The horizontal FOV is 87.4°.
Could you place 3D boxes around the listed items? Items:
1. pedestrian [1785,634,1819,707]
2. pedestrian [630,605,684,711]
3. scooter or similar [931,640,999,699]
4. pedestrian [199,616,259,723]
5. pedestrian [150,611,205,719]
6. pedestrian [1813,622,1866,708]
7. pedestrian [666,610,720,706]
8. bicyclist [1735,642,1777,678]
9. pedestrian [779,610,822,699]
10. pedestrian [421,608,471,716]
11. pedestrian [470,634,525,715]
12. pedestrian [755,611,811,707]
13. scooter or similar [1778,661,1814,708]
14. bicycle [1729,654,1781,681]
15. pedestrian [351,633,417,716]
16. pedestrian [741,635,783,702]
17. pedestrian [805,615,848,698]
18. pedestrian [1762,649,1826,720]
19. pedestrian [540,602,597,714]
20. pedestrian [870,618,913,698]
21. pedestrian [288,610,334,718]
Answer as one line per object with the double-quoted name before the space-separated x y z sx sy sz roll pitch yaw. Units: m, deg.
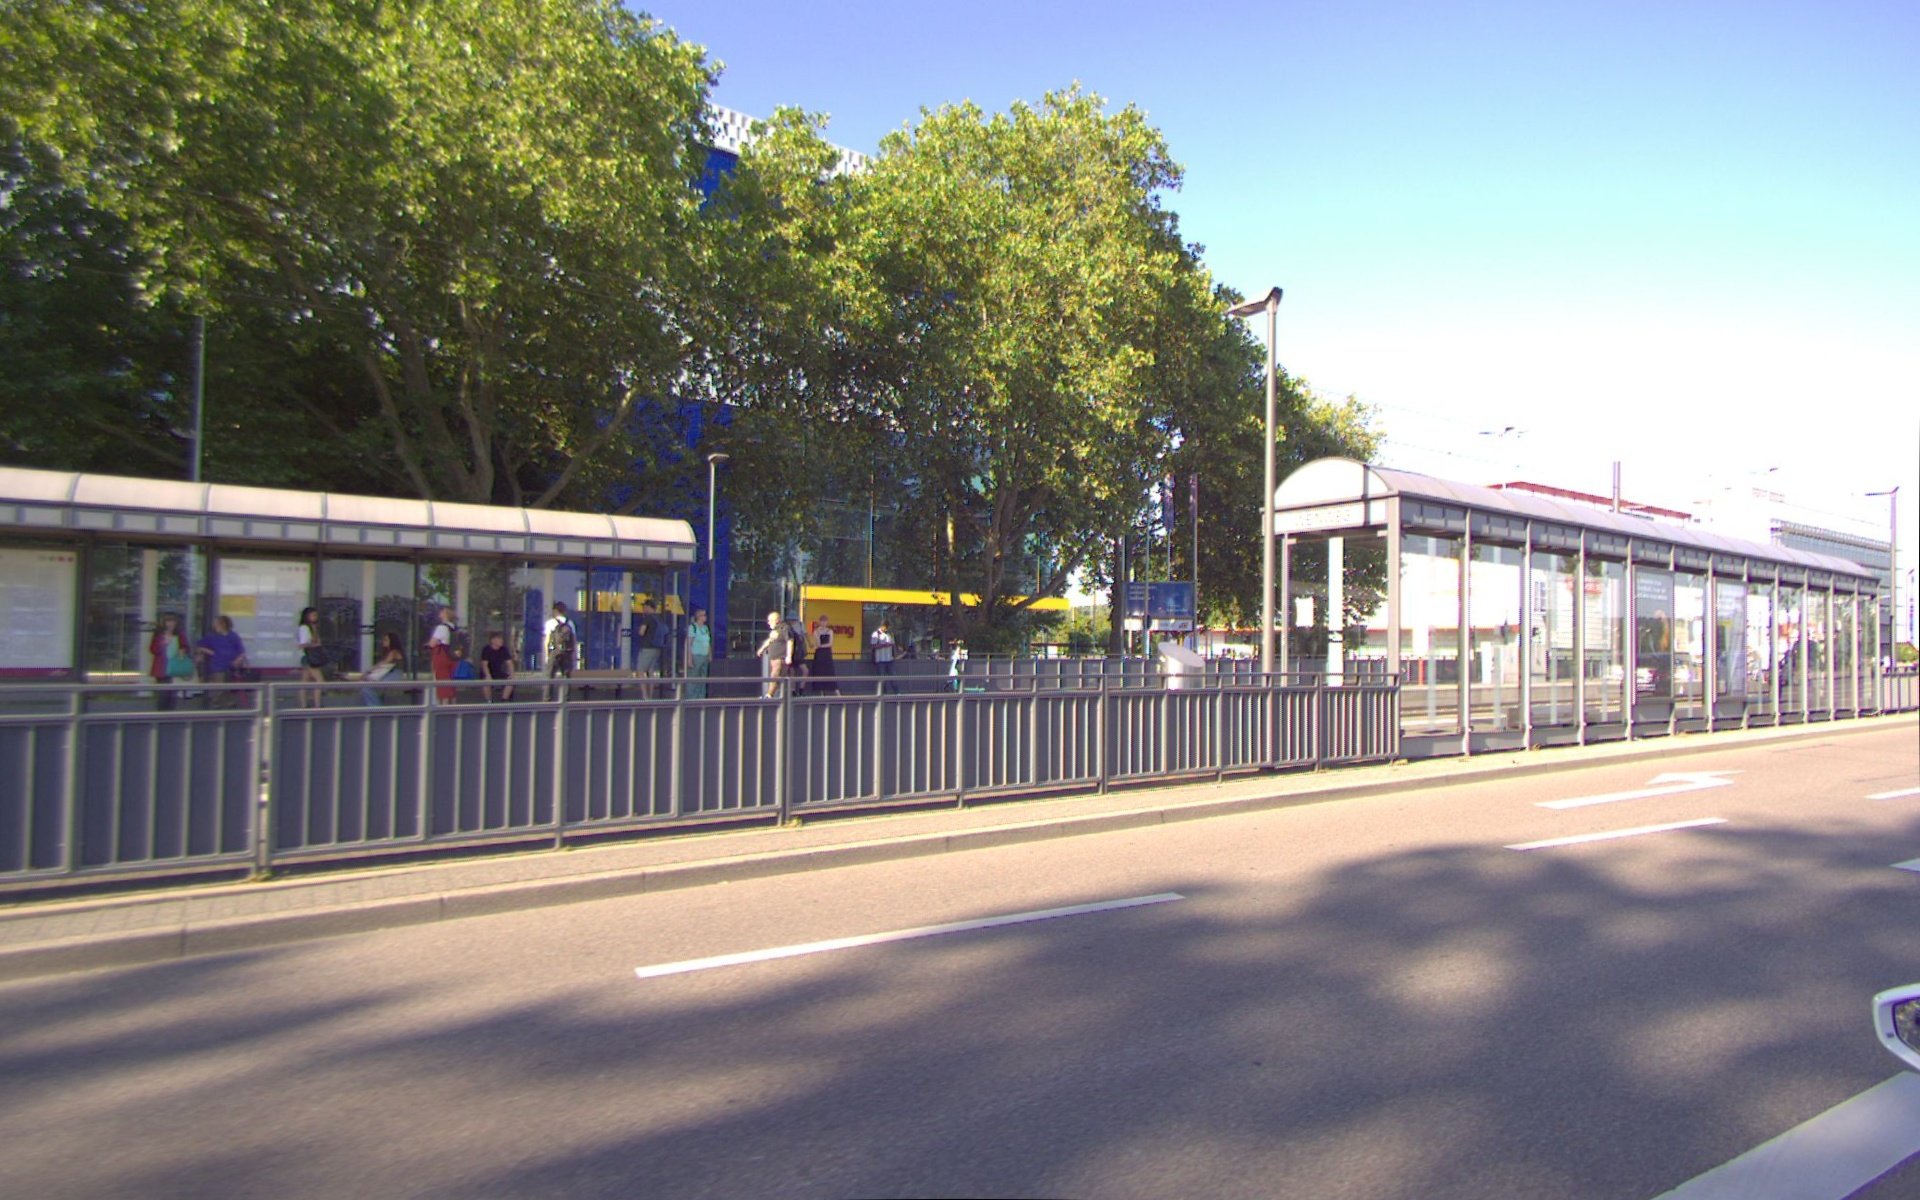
"pedestrian" 19.315 1.607 23.044 0.550 1.617 0.637 1 -1 44
"pedestrian" -5.470 1.024 18.117 0.681 1.844 0.725 2 0 -39
"scooter or similar" 0.114 1.509 22.128 1.358 1.251 0.660 2 -2 -35
"pedestrian" -10.647 0.993 14.630 0.662 1.511 0.574 -1 -2 44
"pedestrian" -11.060 0.904 14.197 0.540 1.487 0.608 2 -2 -41
"pedestrian" 18.319 1.333 20.922 0.815 1.738 0.688 2 -1 -38
"pedestrian" -4.936 1.052 18.562 0.681 1.714 0.725 2 0 -39
"bicyclist" 37.577 2.823 47.401 1.461 1.638 0.820 2 -4 -14
"pedestrian" -3.199 1.082 20.155 0.628 1.742 0.648 2 -1 -30
"pedestrian" -8.135 0.974 15.912 0.635 1.657 0.573 1 -2 -25
"pedestrian" -7.634 1.215 16.572 0.679 1.269 0.648 2 0 -36
"pedestrian" -3.161 1.042 17.914 0.768 1.654 0.656 2 -1 -32
"scooter or similar" 18.676 1.878 22.440 0.563 1.000 0.811 1 -1 44
"bicycle" 37.482 3.188 47.358 2.241 1.233 0.713 2 -4 -14
"pedestrian" -9.145 1.163 15.951 0.566 1.274 0.671 0 -2 22
"pedestrian" -3.811 1.299 19.297 0.610 1.240 0.599 2 -1 -30
"pedestrian" -2.701 1.135 20.355 0.628 1.641 0.648 2 -1 -30
"pedestrian" 15.444 1.543 18.595 0.869 1.248 0.676 2 0 -34
"pedestrian" -6.384 0.936 16.383 0.679 1.765 0.648 2 0 -36
"pedestrian" -1.450 1.210 21.191 0.682 1.641 0.599 2 -1 -30
"pedestrian" -9.911 0.969 15.352 0.482 1.597 0.574 1 -2 -25
